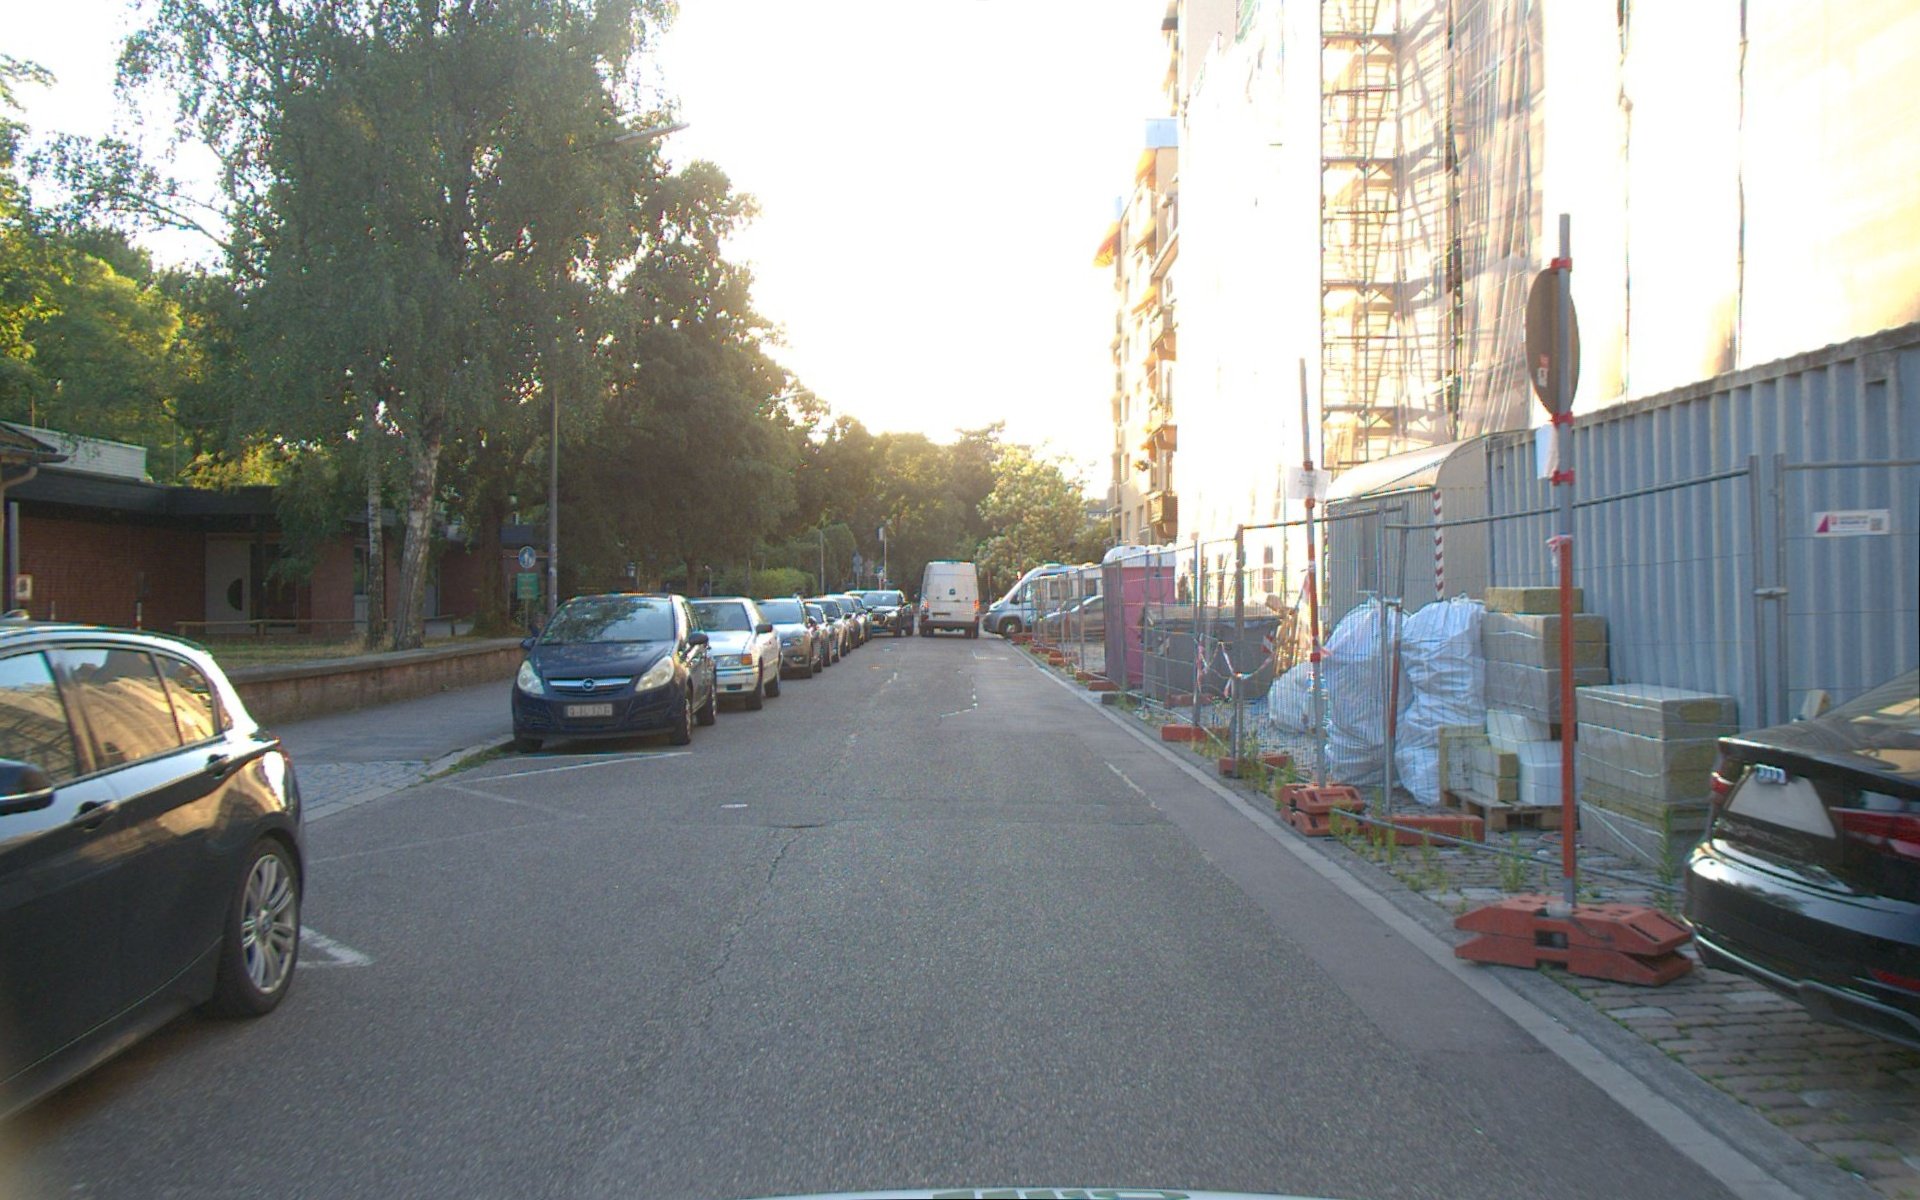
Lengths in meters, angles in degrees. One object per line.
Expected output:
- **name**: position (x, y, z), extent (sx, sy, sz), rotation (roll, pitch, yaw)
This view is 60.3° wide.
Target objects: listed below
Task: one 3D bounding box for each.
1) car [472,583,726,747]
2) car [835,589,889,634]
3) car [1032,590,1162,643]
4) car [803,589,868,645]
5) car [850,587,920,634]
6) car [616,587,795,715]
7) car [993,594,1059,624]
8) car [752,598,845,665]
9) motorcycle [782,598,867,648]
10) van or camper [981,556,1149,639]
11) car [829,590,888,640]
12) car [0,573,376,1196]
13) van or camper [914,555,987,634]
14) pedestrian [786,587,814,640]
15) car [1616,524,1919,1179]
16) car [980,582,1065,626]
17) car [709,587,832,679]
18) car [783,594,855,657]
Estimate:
- **car**: position (-3.557, 0.585, 17.032), extent (1.954, 1.478, 3.997), rotation (0, 0, -4)
- **car**: position (-3.810, 0.424, 65.138), extent (1.746, 1.659, 4.001), rotation (-2, 0, 1)
- **car**: position (4.422, 0.528, 53.841), extent (3.910, 1.542, 2.017), rotation (-2, 0, -5)
- **car**: position (-3.600, 0.477, 48.463), extent (1.681, 1.522, 4.359), rotation (-1, 0, -2)
- **car**: position (-2.613, 0.352, 58.419), extent (1.766, 1.597, 4.568), rotation (0, 0, 7)
- **car**: position (-3.340, 0.619, 22.549), extent (1.746, 1.471, 4.747), rotation (-2, 0, -1)
- **car**: position (3.960, 0.535, 99.511), extent (3.905, 1.758, 2.000), rotation (1, 0, 0)
- **car**: position (-3.484, 0.645, 36.297), extent (1.625, 1.336, 4.154), rotation (-1, 0, 0)
- **motorcycle**: position (-3.697, 0.621, 45.269), extent (2.118, 1.326, 0.880), rotation (1, 0, 14)
- **van or camper**: position (3.732, -0.084, 59.411), extent (5.809, 2.818, 2.109), rotation (1, 0, -2)
- **car**: position (-3.243, 0.467, 53.618), extent (1.603, 1.504, 3.992), rotation (-1, 0, 0)
- **car**: position (-3.253, 0.668, 4.300), extent (1.953, 1.478, 4.288), rotation (0, 0, 0)
- **van or camper**: position (-0.351, -0.195, 59.691), extent (2.404, 2.591, 6.082), rotation (2, 0, 0)
- **pedestrian**: position (-5.785, 0.486, 59.745), extent (0.919, 1.862, 0.786), rotation (1, 0, -2)
- **car**: position (4.407, 0.627, 5.073), extent (4.068, 1.644, 1.872), rotation (0, 0, 1)
- **car**: position (3.321, 0.203, 88.462), extent (4.405, 2.269, 2.031), rotation (1, 0, -2)
- **car**: position (-3.463, 0.569, 31.010), extent (1.822, 1.565, 4.757), rotation (-1, 0, -1)
- **car**: position (-3.531, 0.625, 42.056), extent (1.569, 1.456, 3.802), rotation (-3, 0, -2)
